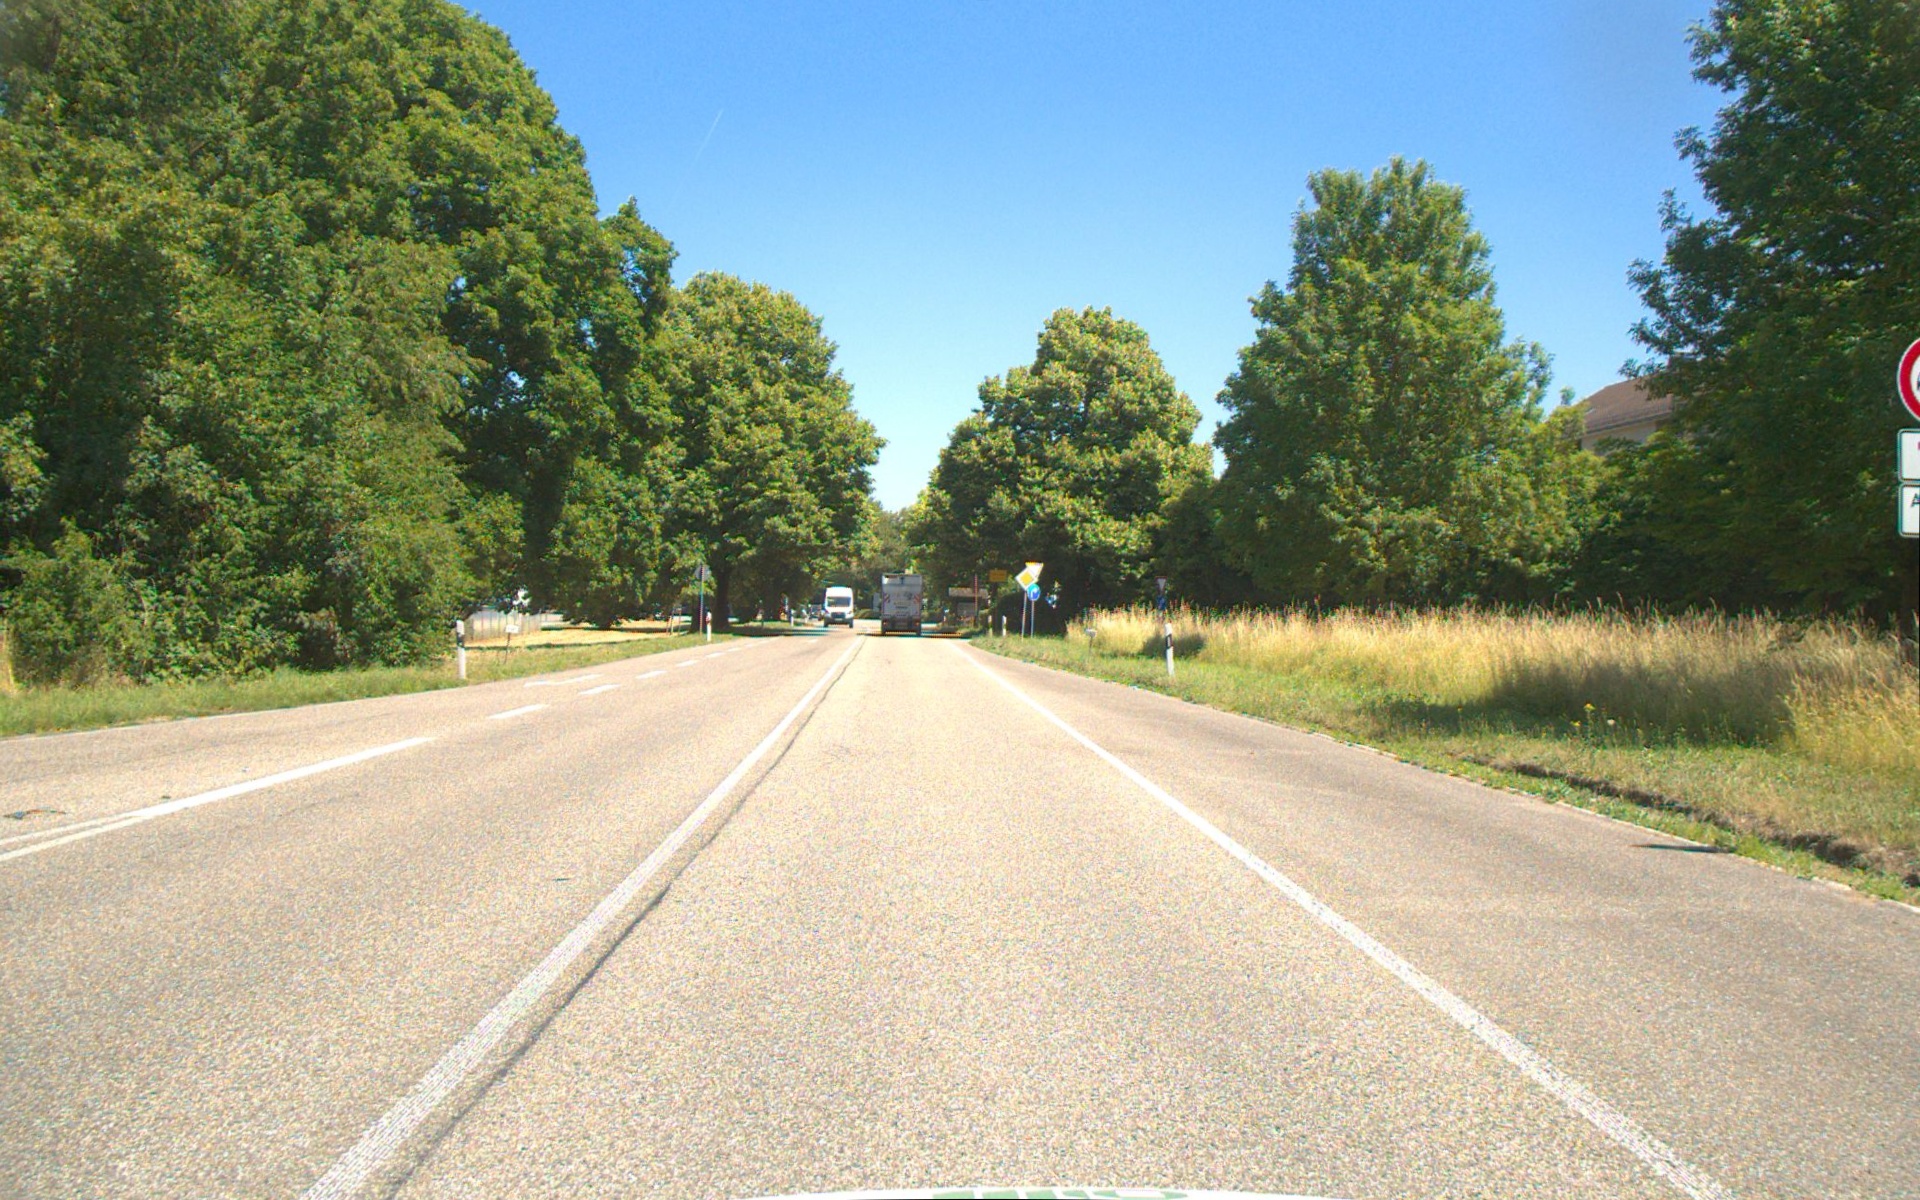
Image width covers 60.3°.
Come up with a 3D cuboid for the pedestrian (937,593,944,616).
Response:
[{"bbox_3d":[-1.518,0.368,130.840,0.536,1.807,0.577,0,-1,2],"label":"pedestrian"}]

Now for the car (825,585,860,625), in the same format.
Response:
[{"bbox_3d":[-8.004,0.354,113.050,2.031,2.673,6.782,0,-1,-1],"label":"car"}]

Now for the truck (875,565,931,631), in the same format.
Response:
[{"bbox_3d":[-2.811,-0.126,83.038,2.481,3.190,5.362,0,0,2],"label":"truck"}]
